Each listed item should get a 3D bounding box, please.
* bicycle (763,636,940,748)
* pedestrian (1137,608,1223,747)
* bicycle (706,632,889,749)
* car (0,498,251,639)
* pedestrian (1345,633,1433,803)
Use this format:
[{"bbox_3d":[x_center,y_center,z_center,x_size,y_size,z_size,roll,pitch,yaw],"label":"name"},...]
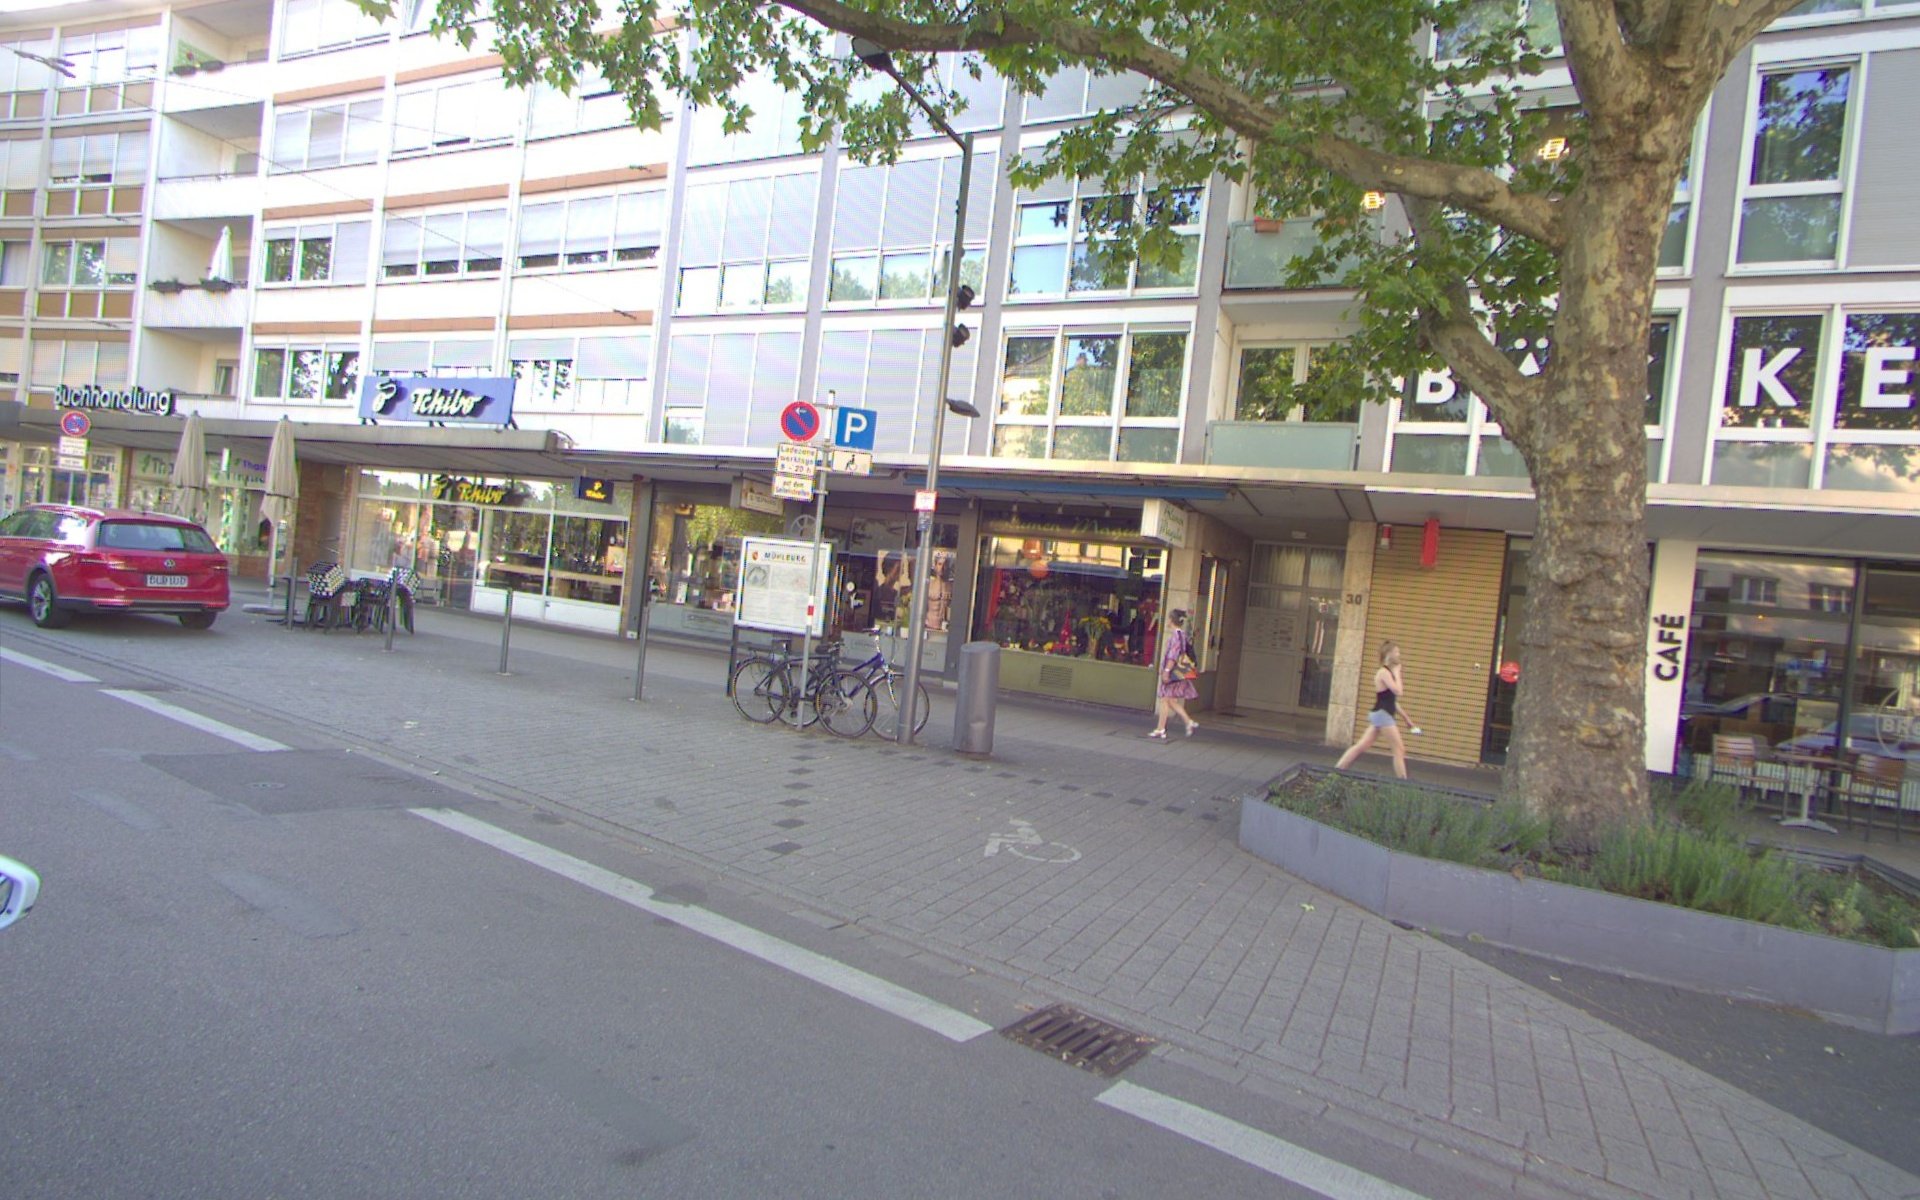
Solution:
[{"bbox_3d":[-1.141,0.946,10.560,1.743,0.931,0.391,6,2,12],"label":"bicycle"},{"bbox_3d":[2.777,0.953,12.661,0.776,1.613,0.651,6,2,26],"label":"pedestrian"},{"bbox_3d":[-1.654,0.904,10.244,1.743,0.951,0.391,6,2,12],"label":"bicycle"},{"bbox_3d":[-11.638,-0.479,13.444,4.229,1.502,1.772,6,1,28],"label":"car"},{"bbox_3d":[4.350,1.173,10.191,0.631,1.596,0.560,6,1,26],"label":"pedestrian"}]
